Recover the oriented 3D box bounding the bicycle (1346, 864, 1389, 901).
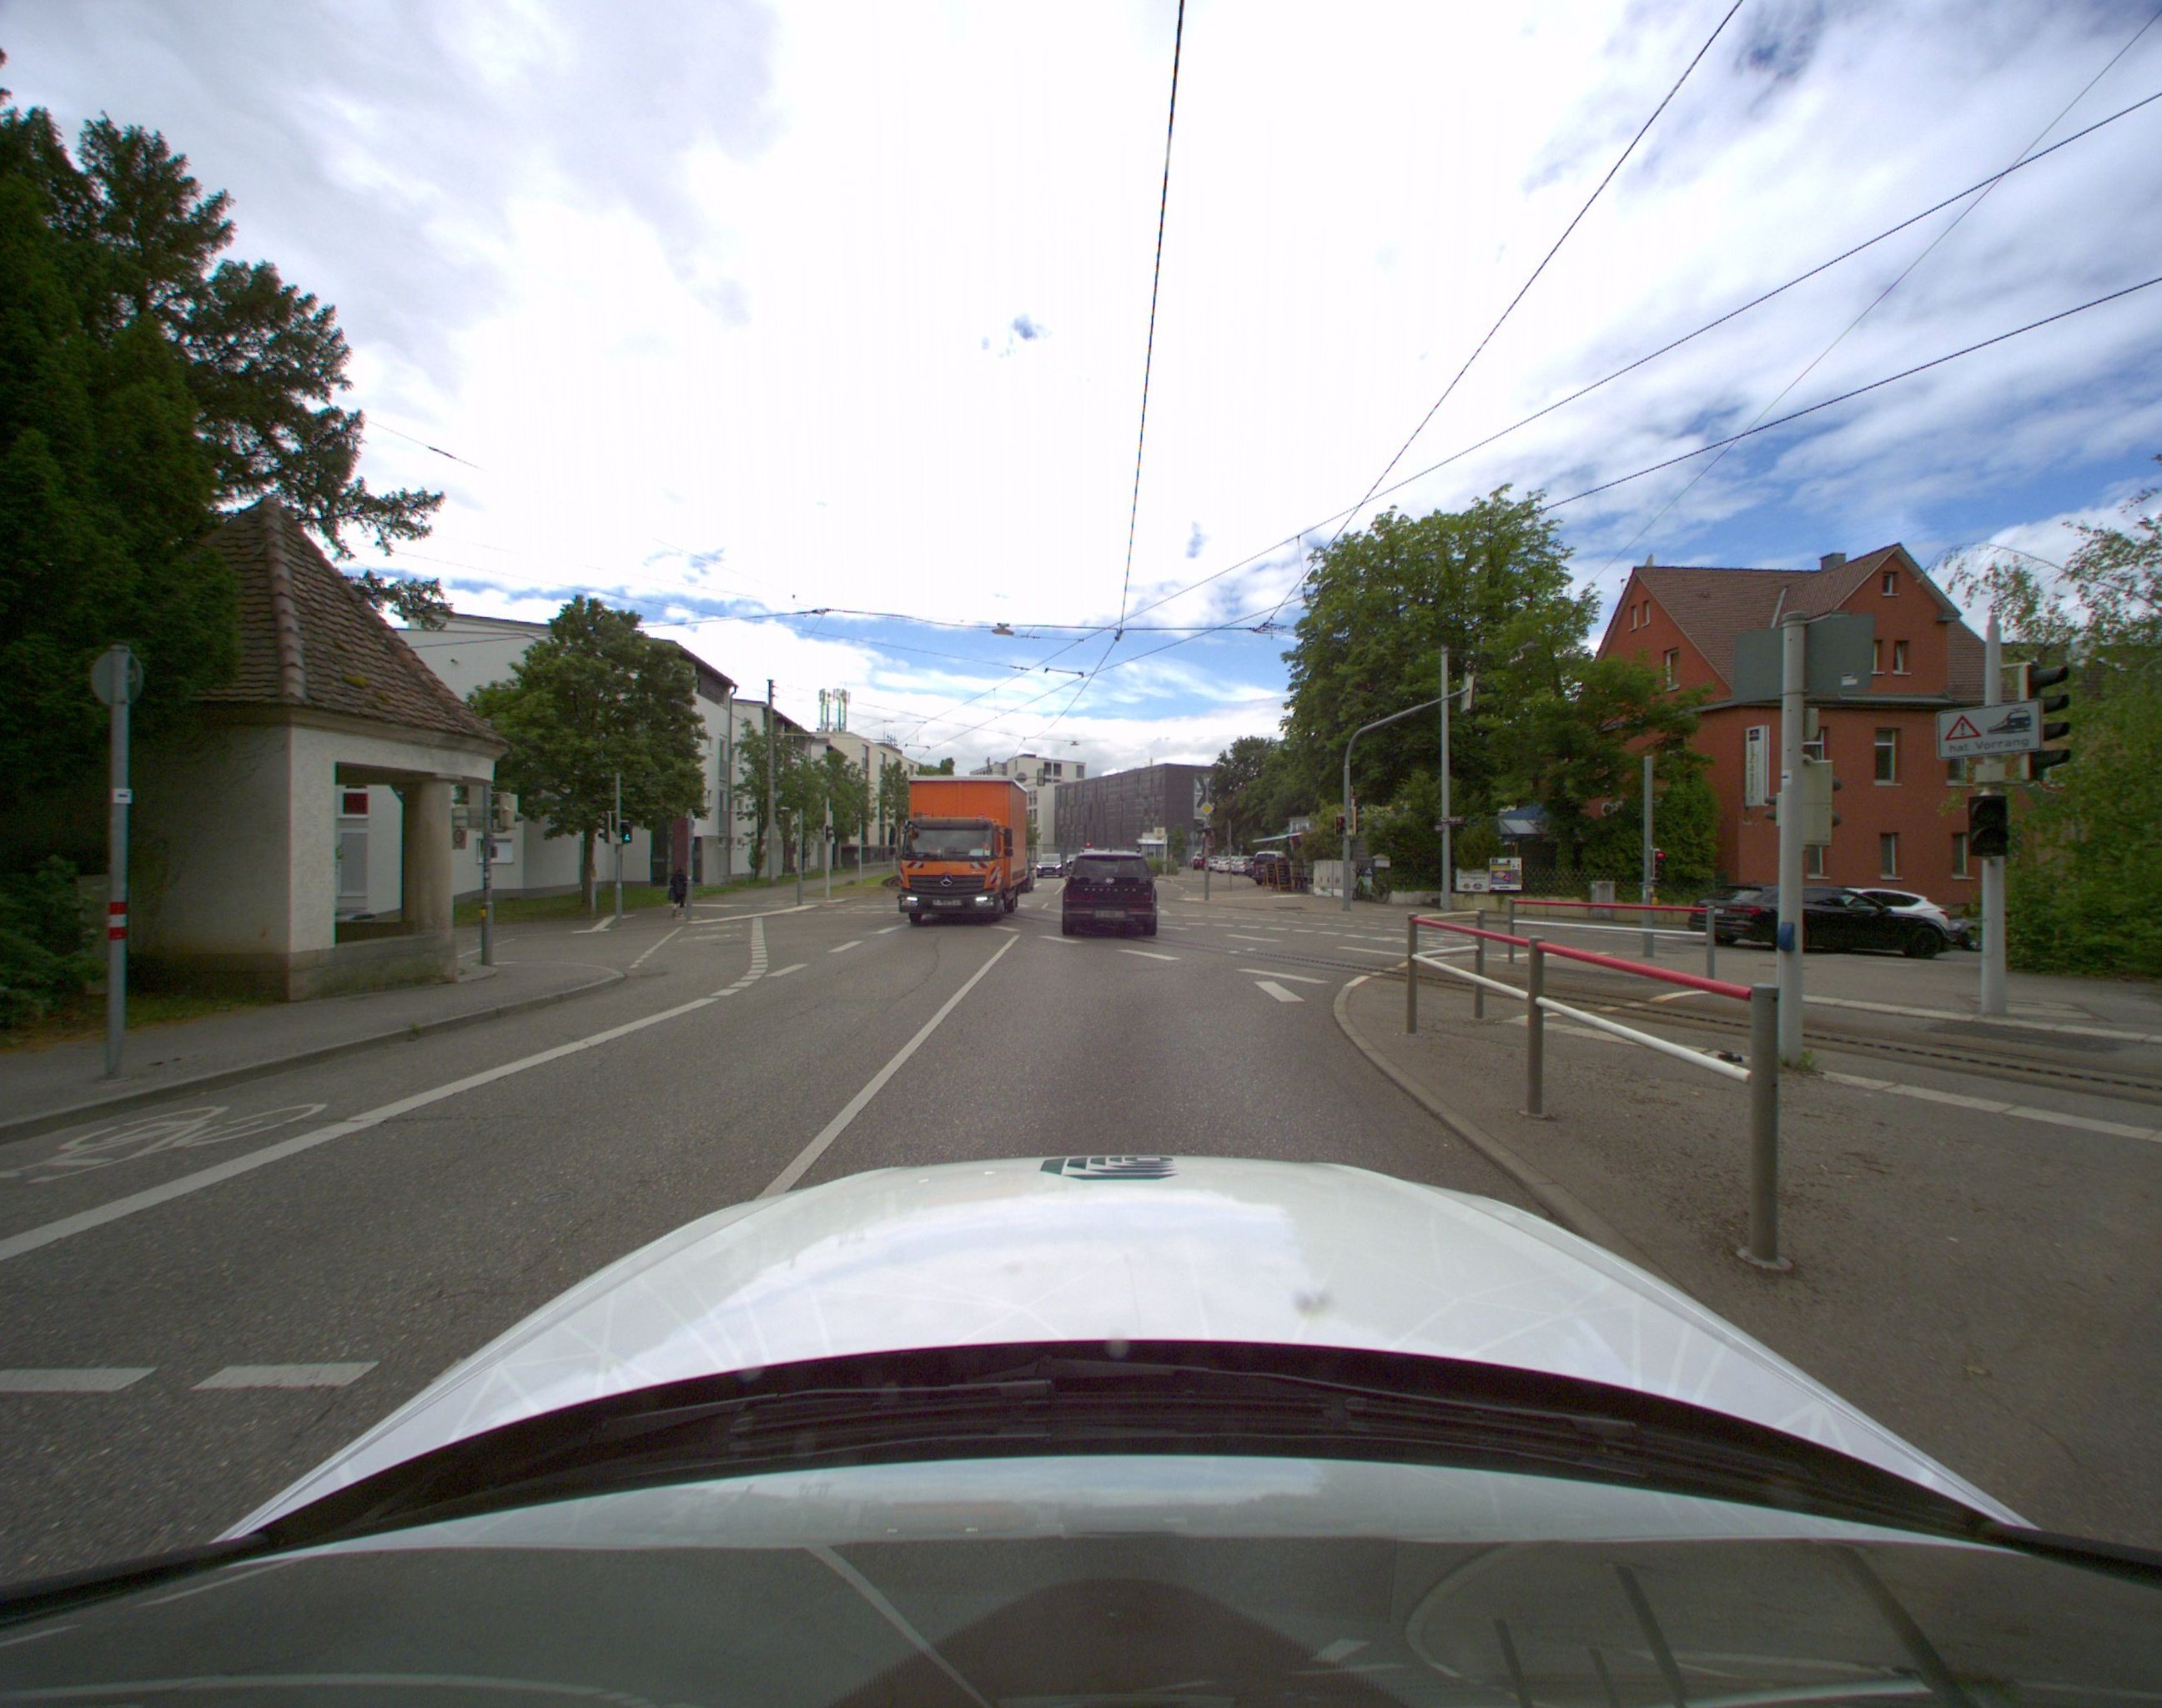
[{"bbox_3d":[10.182,0.995,28.996,0.548,1.138,1.872,0,3,-10],"label":"bicycle"}]

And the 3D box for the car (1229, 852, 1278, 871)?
[{"bbox_3d":[13.166,0.558,62.055,3.527,1.378,1.533,-1,2,-29],"label":"car"}]

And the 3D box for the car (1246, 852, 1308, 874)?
[{"bbox_3d":[13.632,0.625,56.664,4.012,1.477,1.862,0,0,-30],"label":"car"}]

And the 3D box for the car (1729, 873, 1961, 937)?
[{"bbox_3d":[19.421,1.278,20.796,4.502,1.463,1.994,1,0,-9],"label":"car"}]

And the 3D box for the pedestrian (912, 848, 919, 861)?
[{"bbox_3d":[-21.095,0.098,103.708,0.611,1.694,0.785,1,-1,1],"label":"pedestrian"}]

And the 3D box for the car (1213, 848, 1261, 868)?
[{"bbox_3d":[12.840,0.326,66.981,3.657,1.435,1.578,-2,-1,-26],"label":"car"}]

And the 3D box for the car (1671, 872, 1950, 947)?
[{"bbox_3d":[15.823,1.171,17.820,4.494,1.463,1.998,1,0,-4],"label":"car"}]

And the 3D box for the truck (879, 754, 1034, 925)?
[{"bbox_3d":[-3.038,-0.322,22.473,2.760,3.719,8.468,-2,0,0],"label":"truck"}]

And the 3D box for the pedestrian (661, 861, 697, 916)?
[{"bbox_3d":[-12.586,1.077,25.505,0.673,1.644,0.818,-2,2,-4],"label":"pedestrian"}]

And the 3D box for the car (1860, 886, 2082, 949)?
[{"bbox_3d":[25.302,1.783,23.248,4.498,1.463,1.996,3,-1,-6],"label":"car"}]

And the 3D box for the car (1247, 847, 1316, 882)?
[{"bbox_3d":[11.077,0.524,44.717,1.828,1.748,4.725,0,1,39],"label":"car"}]

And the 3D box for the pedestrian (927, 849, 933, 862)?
[{"bbox_3d":[-19.513,0.208,105.067,0.611,1.694,0.785,1,-1,1],"label":"pedestrian"}]

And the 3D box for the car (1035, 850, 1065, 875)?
[{"bbox_3d":[-2.120,0.557,57.351,1.781,1.661,4.278,-1,0,2],"label":"car"}]

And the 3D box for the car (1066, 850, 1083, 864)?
[{"bbox_3d":[-0.724,0.360,91.317,1.733,1.559,4.184,-1,0,1],"label":"car"}]

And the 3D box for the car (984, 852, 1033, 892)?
[{"bbox_3d":[-2.962,0.698,33.802,1.670,1.505,3.732,-2,0,-1],"label":"car"}]

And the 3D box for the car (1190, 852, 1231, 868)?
[{"bbox_3d":[12.441,0.571,78.227,3.510,1.455,1.666,2,-1,-27],"label":"car"}]

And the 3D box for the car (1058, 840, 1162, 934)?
[{"bbox_3d":[0.537,0.611,17.457,1.909,1.725,4.169,2,0,-1],"label":"car"}]

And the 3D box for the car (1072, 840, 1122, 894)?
[{"bbox_3d":[0.597,0.475,33.166,1.850,2.033,4.435,0,1,-1],"label":"car"}]

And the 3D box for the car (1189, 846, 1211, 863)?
[{"bbox_3d":[13.567,0.128,92.846,1.986,1.838,4.519,-1,-1,2],"label":"car"}]

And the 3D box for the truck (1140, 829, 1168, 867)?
[{"bbox_3d":[7.048,-0.613,79.390,2.562,3.525,7.817,0,0,3],"label":"truck"}]

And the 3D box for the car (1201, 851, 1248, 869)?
[{"bbox_3d":[12.886,0.580,73.001,3.813,1.474,1.782,2,-1,-29],"label":"car"}]
